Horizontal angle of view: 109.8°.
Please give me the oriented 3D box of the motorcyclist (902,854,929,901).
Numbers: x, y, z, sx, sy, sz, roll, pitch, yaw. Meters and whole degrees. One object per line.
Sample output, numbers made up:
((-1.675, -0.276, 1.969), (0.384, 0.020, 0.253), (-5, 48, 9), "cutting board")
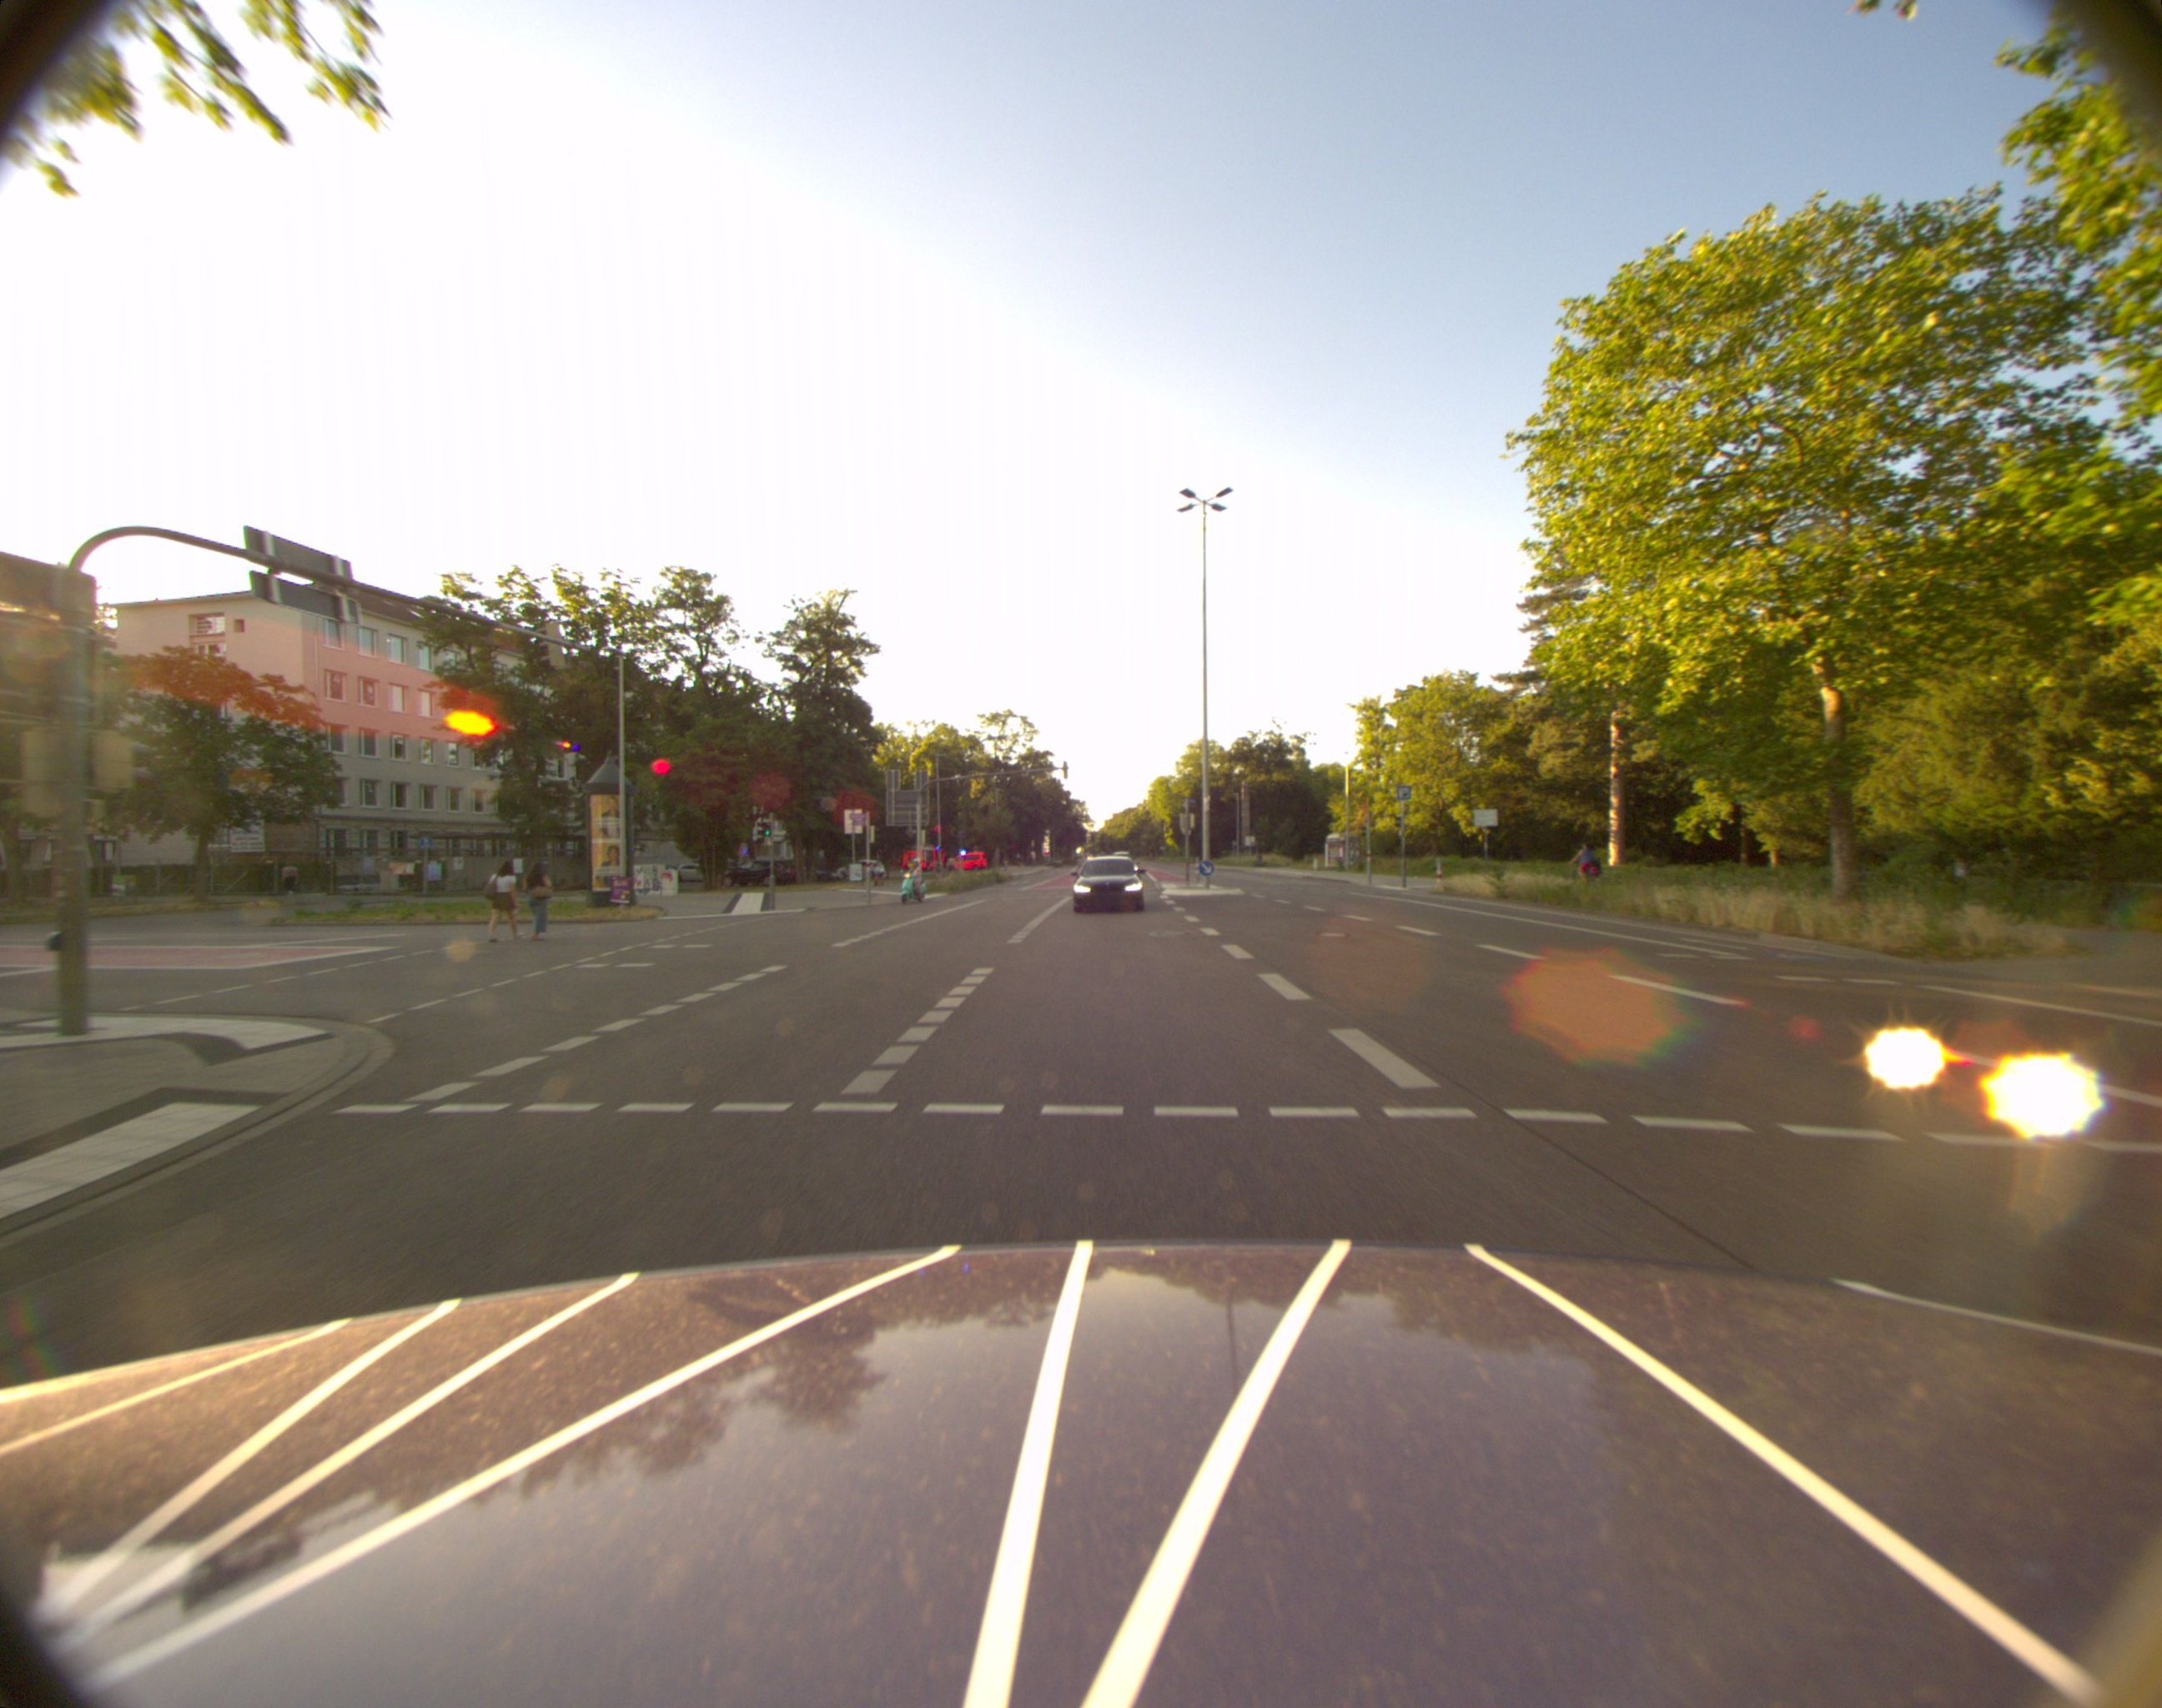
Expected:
((-6.262, 0.877, 28.751), (0.739, 1.727, 0.691), (-2, 0, 12), "motorcyclist")

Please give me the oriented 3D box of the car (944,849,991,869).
((-13.627, 0.570, 91.196), (5.163, 2.379, 2.001), (-1, 1, 6), "car")

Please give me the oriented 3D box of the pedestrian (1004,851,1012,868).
((-7.192, 0.556, 74.719), (0.682, 1.613, 0.689), (-1, 0, 3), "pedestrian")

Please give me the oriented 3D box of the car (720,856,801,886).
((-19.901, 1.051, 47.316), (4.233, 1.730, 1.920), (-1, 0, 9), "car")

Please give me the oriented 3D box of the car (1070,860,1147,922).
((0.708, 0.901, 20.791), (1.818, 1.391, 5.213), (-1, 0, 1), "car")

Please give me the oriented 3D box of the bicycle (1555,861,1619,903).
((16.076, 0.852, 24.186), (0.791, 1.249, 1.980), (-1, 0, 3), "bicycle")

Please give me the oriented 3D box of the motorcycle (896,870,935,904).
((-6.248, 1.223, 28.749), (0.683, 1.190, 1.895), (-2, 0, 12), "motorcycle")

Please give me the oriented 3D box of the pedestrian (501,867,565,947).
((-11.441, 1.080, 15.897), (0.682, 1.613, 0.845), (-1, 0, 3), "pedestrian")

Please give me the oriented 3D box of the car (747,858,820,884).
((-19.604, 1.104, 50.141), (3.994, 1.601, 1.920), (-1, 0, 10), "car")

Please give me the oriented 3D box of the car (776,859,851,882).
((-18.680, 1.148, 53.132), (4.515, 1.455, 1.920), (-1, 0, 6), "car")

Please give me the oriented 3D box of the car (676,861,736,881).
((-29.605, 1.317, 60.012), (3.910, 1.513, 1.919), (-1, 0, 12), "car")

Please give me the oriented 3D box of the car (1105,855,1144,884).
((2.267, 0.759, 40.562), (1.850, 1.346, 4.703), (-3, 0, 1), "car")

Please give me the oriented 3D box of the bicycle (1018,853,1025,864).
((-6.965, 0.510, 88.960), (0.571, 1.233, 1.899), (-1, 0, 3), "bicycle")

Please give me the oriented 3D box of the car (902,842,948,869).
((-19.190, 0.145, 93.992), (2.769, 3.224, 8.303), (-1, 0, 10), "car")

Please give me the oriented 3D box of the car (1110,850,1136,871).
((3.229, 0.487, 59.147), (1.850, 1.473, 4.703), (-3, 0, 1), "car")

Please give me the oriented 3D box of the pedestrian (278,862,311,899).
((-38.176, 1.281, 36.866), (0.895, 1.729, 0.705), (-1, 1, 12), "pedestrian")

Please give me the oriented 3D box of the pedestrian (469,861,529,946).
((-12.215, 1.029, 15.959), (0.682, 1.744, 0.689), (-1, 0, 3), "pedestrian")

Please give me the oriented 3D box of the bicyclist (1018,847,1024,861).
((-6.982, 0.052, 88.743), (0.571, 1.623, 1.038), (-1, 1, 3), "bicyclist")

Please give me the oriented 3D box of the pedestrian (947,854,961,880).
((-7.959, 0.813, 47.620), (0.721, 1.650, 0.776), (-1, 1, -1), "pedestrian")

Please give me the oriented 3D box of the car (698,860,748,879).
((-29.330, 1.268, 62.330), (3.307, 1.451, 1.772), (-1, 0, 16), "car")

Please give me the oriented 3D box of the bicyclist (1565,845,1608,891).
((16.067, 0.446, 24.157), (0.791, 1.419, 0.892), (-1, 1, 3), "bicyclist")

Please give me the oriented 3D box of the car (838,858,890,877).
((-17.840, 1.085, 62.525), (3.661, 1.451, 1.665), (-1, 0, 8), "car")

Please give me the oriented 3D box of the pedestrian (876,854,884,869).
((-25.231, 0.962, 95.183), (0.682, 1.831, 0.846), (-1, 0, 6), "pedestrian")

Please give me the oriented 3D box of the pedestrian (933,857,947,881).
((-8.844, 0.925, 47.693), (0.737, 1.514, 0.789), (-1, 1, 1), "pedestrian")

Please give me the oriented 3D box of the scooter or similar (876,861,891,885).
((-10.771, 1.045, 41.387), (0.441, 1.264, 1.179), (-1, 1, 3), "scooter or similar")
